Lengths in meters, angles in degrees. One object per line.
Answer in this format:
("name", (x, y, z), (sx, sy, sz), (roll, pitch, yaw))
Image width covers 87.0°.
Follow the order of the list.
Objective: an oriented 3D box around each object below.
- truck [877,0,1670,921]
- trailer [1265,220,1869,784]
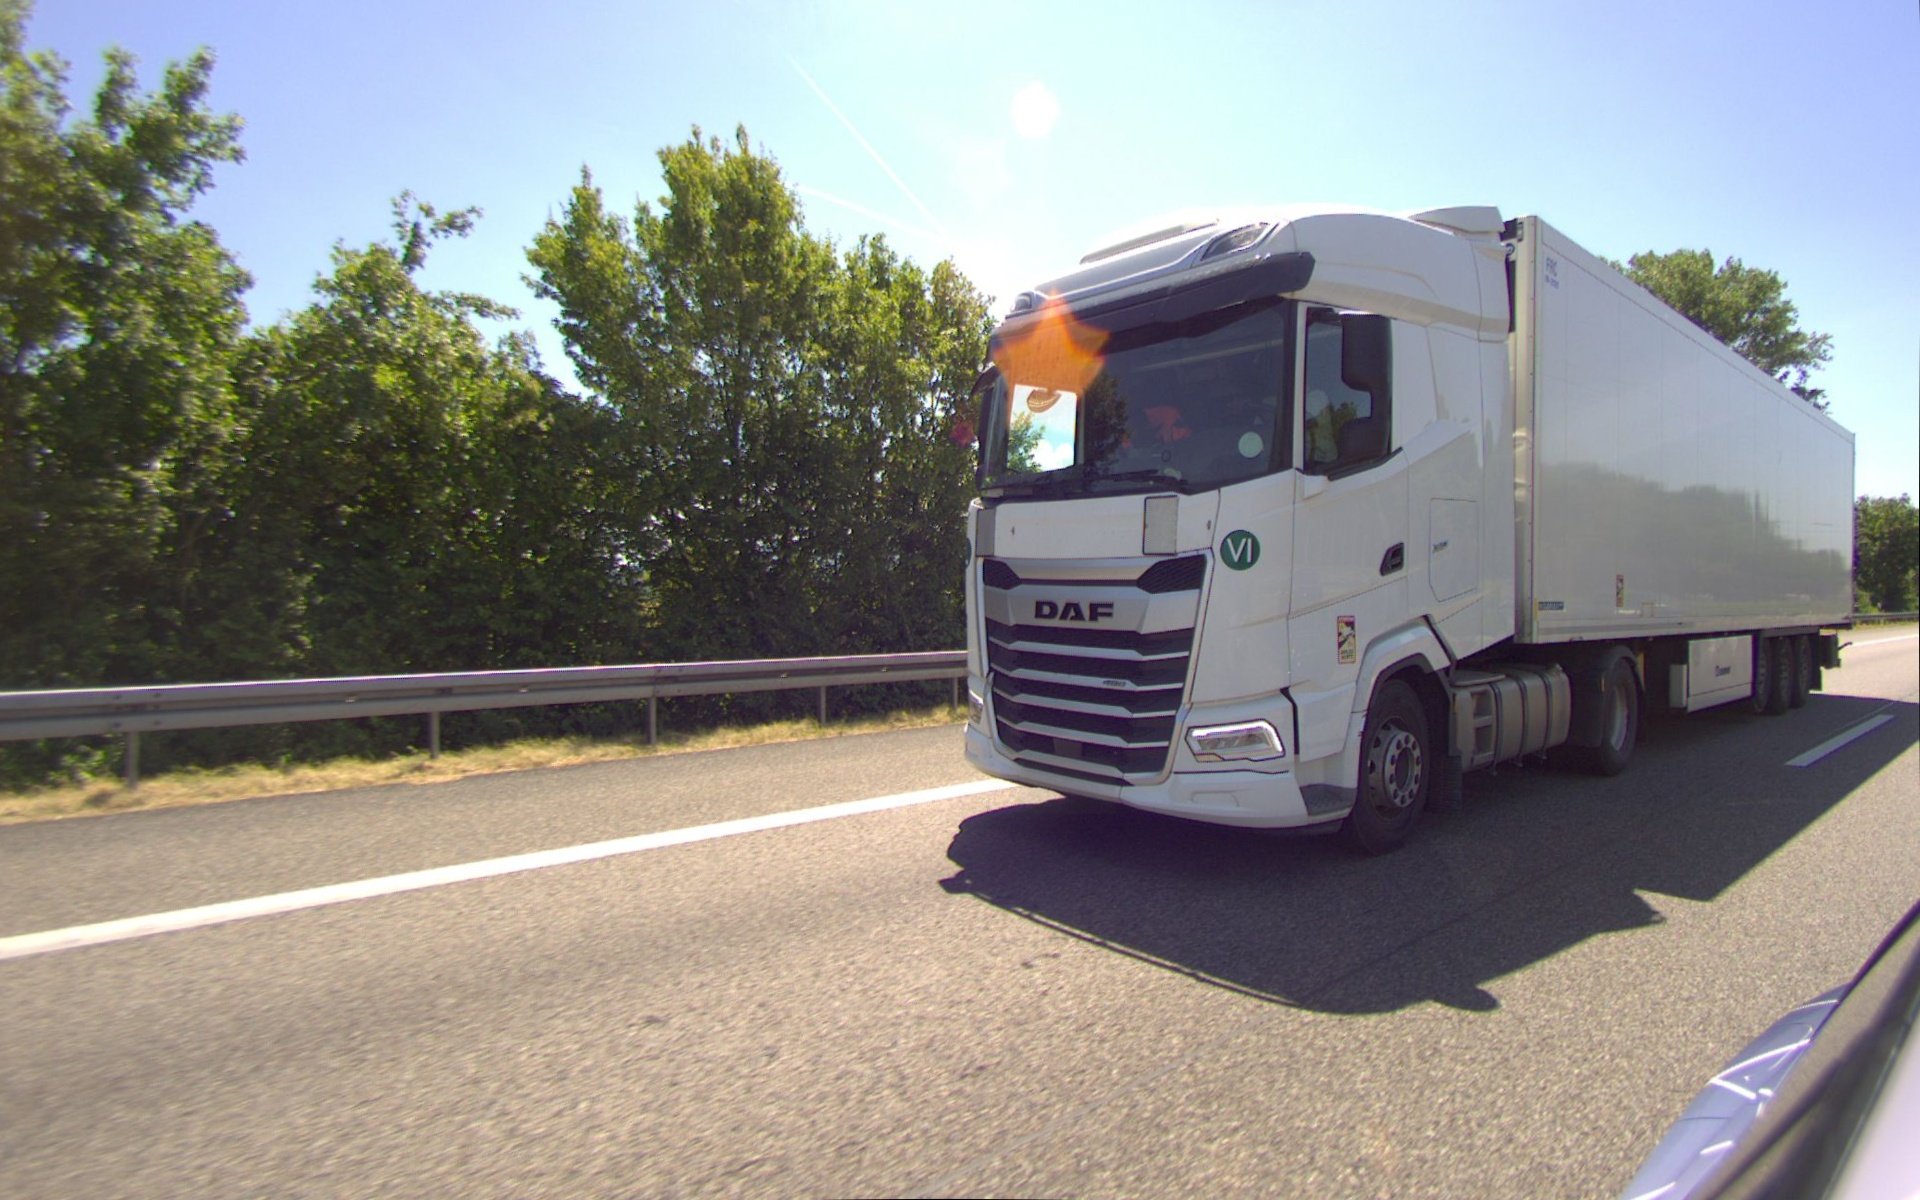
("truck", (2.705, -0.698, 7.582), (6.099, 4.158, 2.964), (0, 0, -42))
("trailer", (8.499, -0.756, 12.683), (12.315, 4.158, 2.964), (0, 0, -42))
